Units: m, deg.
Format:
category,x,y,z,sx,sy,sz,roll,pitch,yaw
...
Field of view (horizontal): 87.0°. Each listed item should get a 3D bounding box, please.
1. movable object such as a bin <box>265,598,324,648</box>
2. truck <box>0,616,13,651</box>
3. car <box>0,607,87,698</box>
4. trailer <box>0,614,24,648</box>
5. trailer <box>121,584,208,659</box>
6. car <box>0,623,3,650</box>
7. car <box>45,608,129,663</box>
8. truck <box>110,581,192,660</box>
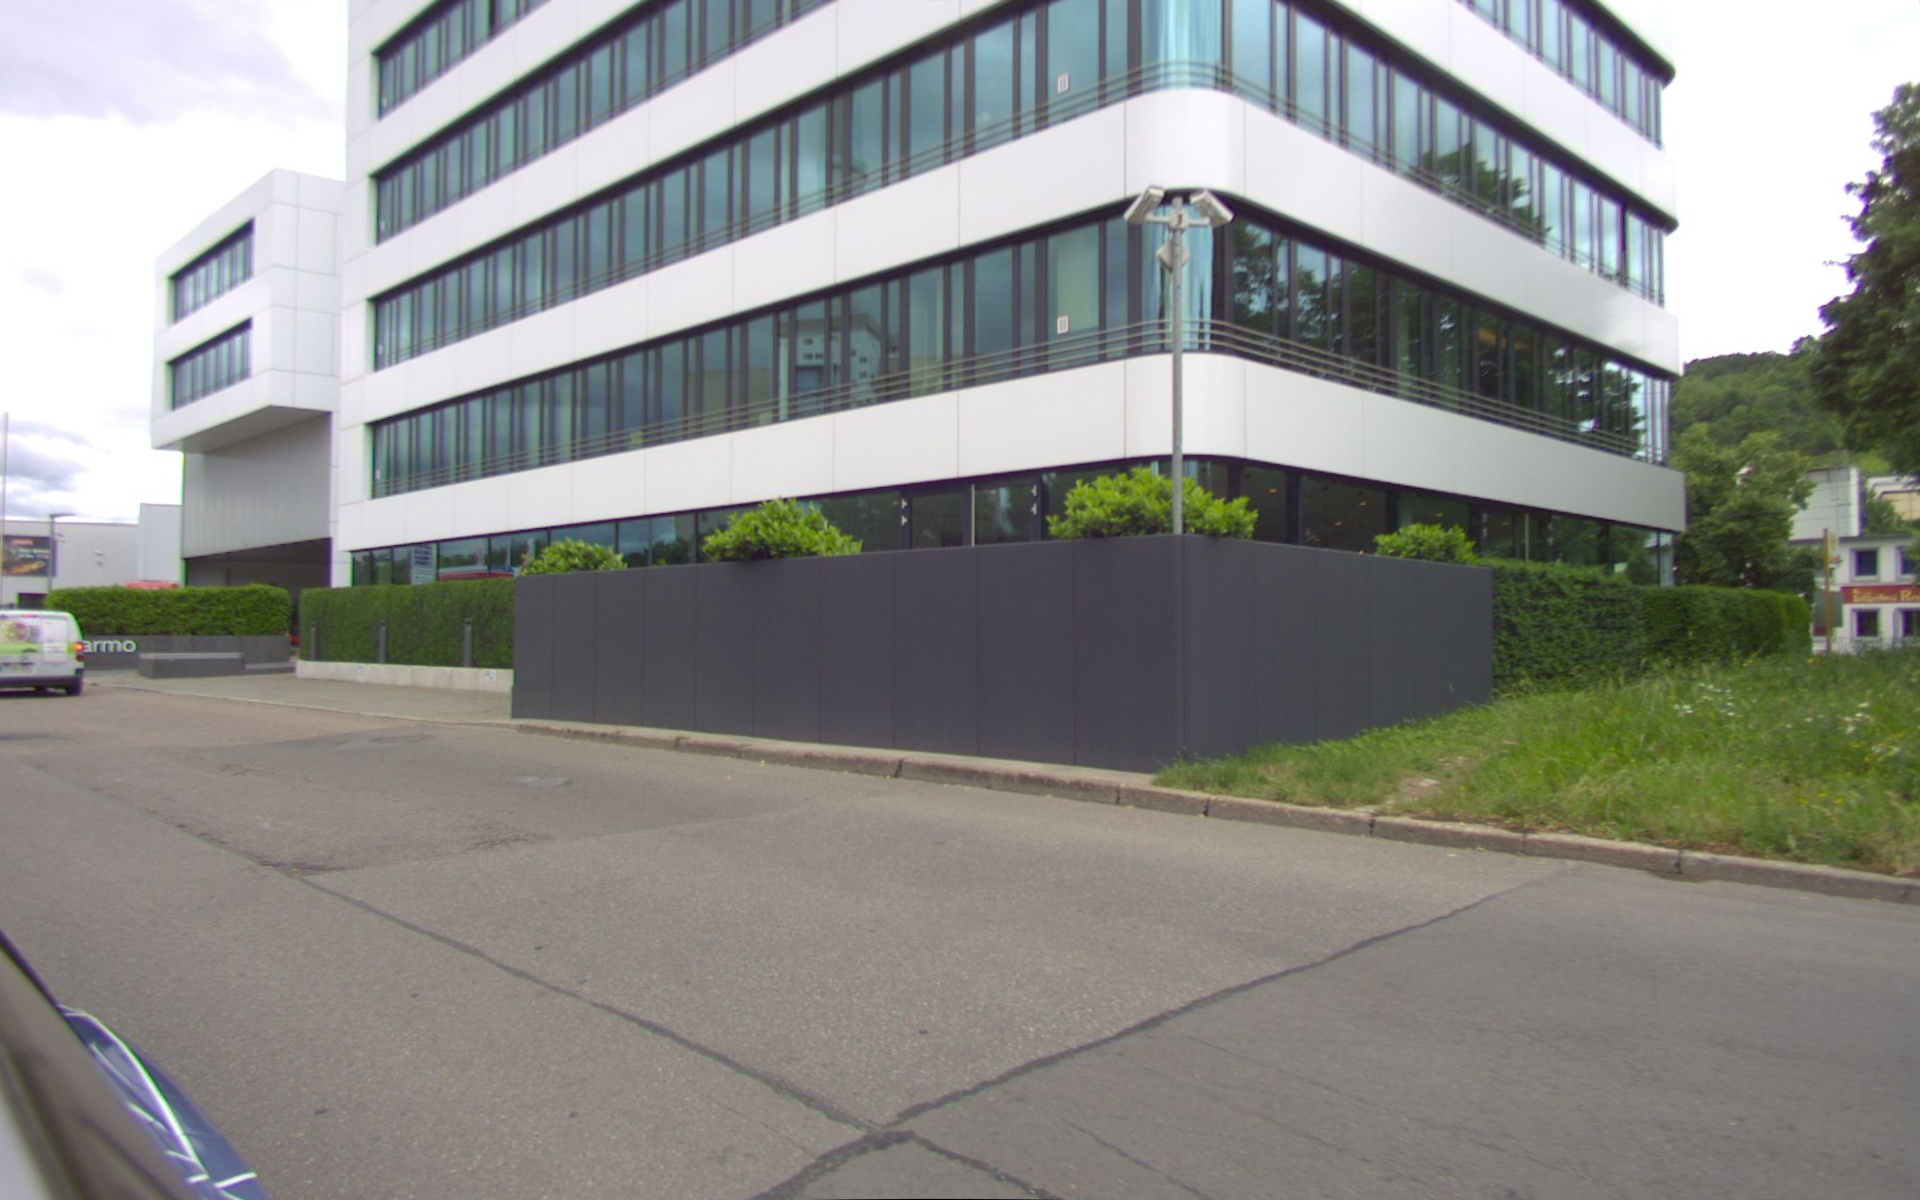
category,x,y,z,sx,sy,sz,roll,pitch,yaw
movable object such as a bin,-30.717,1.085,46.778,2.117,2.240,1.757,2,-3,-30
truck,-118.753,4.073,122.796,4.798,4.237,3.057,3,-4,-30
car,-20.160,1.065,21.414,4.200,1.777,1.790,-2,-1,38
trailer,-124.279,3.726,125.248,11.846,4.164,3.056,3,-4,-34
trailer,-47.723,1.383,61.050,2.704,4.062,12.652,1,-2,-32
car,-100.784,3.781,102.463,5.343,2.751,2.247,0,-2,-34
car,-29.596,1.175,34.290,3.175,1.775,1.634,-2,-1,39
truck,-44.513,1.181,55.876,2.704,4.062,7.112,1,-2,-32
